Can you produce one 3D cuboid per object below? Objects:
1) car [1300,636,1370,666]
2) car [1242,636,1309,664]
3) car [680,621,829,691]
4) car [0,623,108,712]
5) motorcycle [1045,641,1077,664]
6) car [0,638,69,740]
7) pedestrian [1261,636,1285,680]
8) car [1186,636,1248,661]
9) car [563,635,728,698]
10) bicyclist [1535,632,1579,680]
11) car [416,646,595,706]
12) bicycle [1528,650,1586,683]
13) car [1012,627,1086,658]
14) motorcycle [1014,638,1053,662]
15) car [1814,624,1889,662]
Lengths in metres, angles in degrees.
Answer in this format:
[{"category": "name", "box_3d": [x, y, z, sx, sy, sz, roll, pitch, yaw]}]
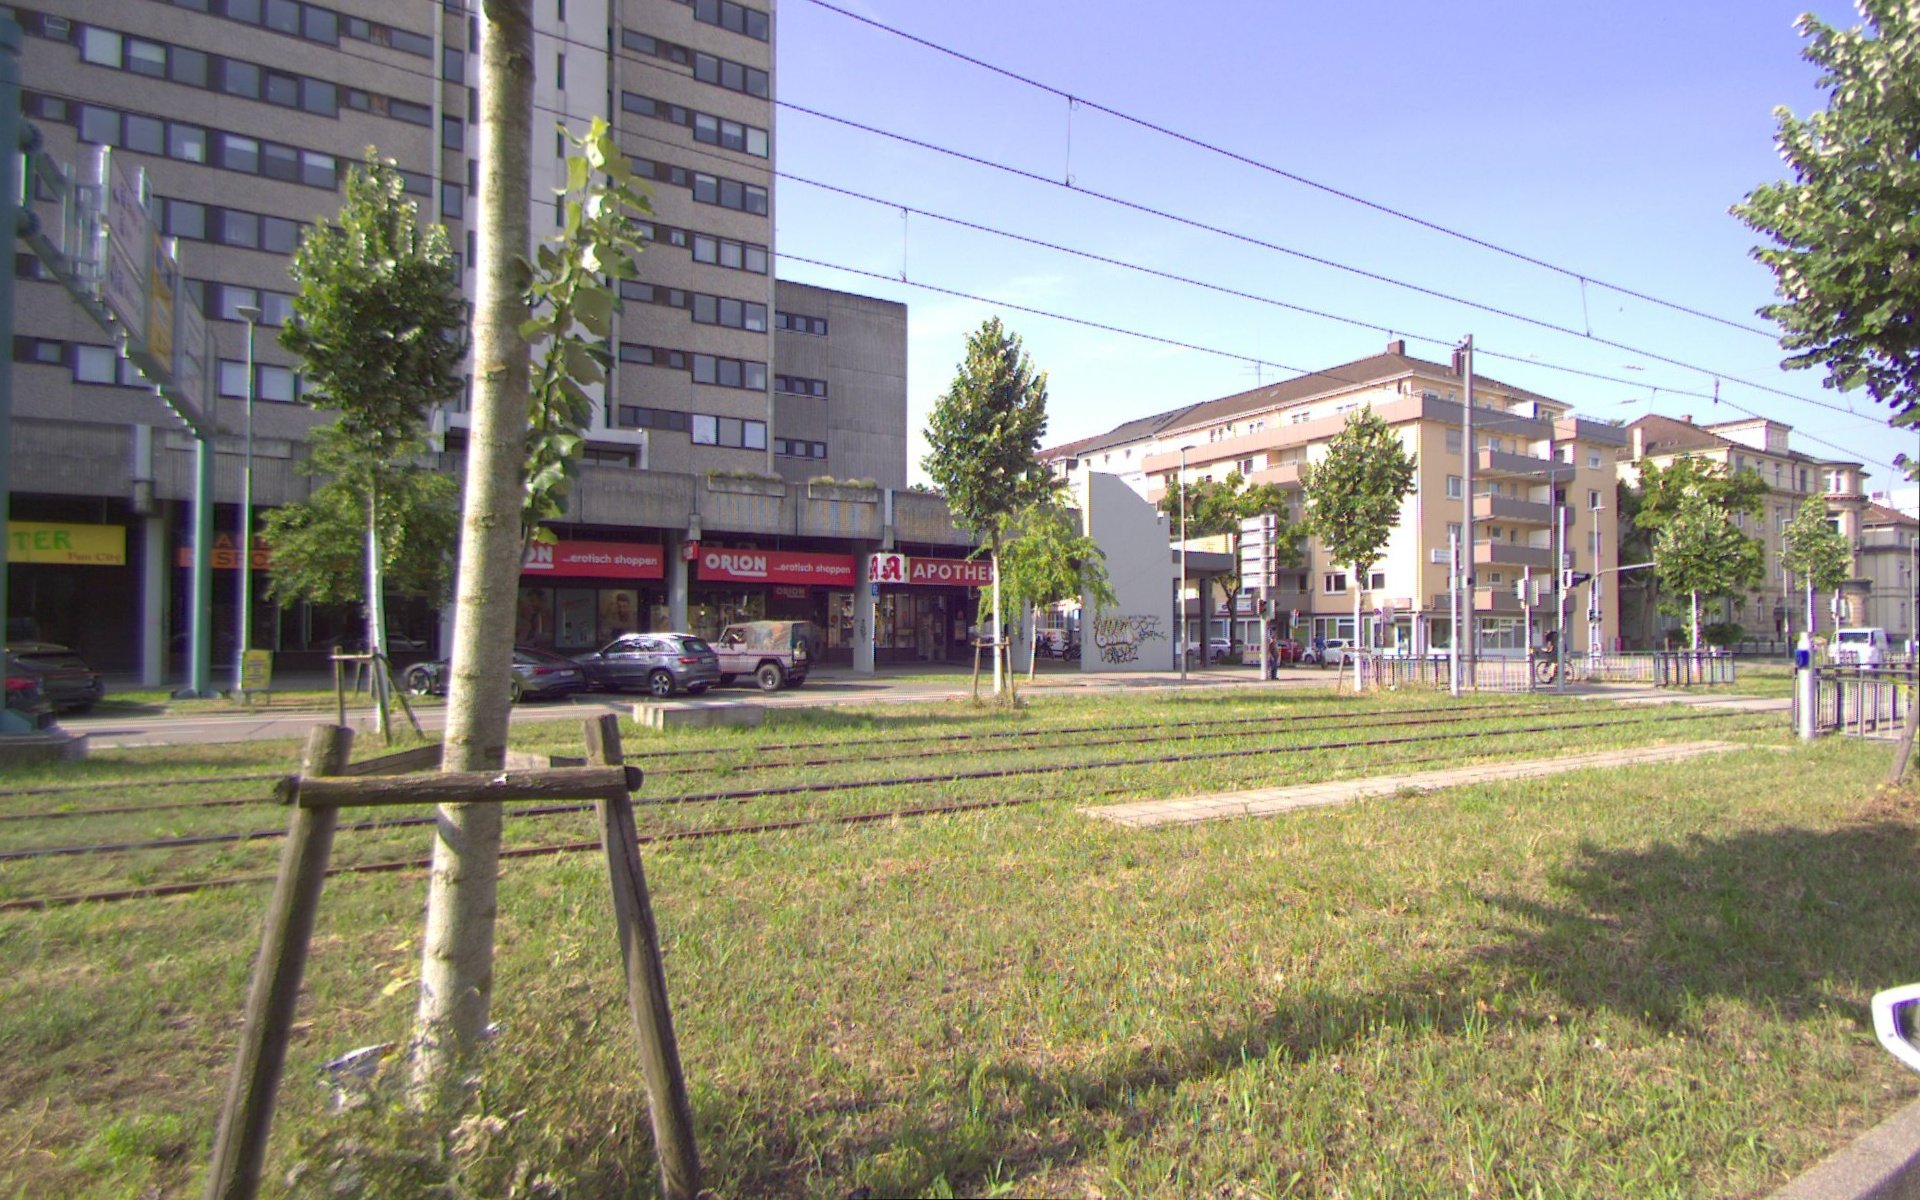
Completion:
[{"category": "car", "box_3d": [22.159, 2.986, 59.440, 1.691, 1.604, 3.601, -2, -1, -34]}, {"category": "car", "box_3d": [19.855, 3.103, 63.346, 1.756, 1.711, 3.765, 1, -2, -33]}, {"category": "car", "box_3d": [-6.170, 1.636, 30.245, 4.031, 1.994, 1.879, -1, -2, 20]}, {"category": "car", "box_3d": [-20.084, 1.314, 20.575, 3.919, 1.604, 2.103, 1, 1, 13]}, {"category": "motorcycle", "box_3d": [5.298, 2.735, 52.713, 1.658, 1.180, 0.626, 1, -2, -30]}, {"category": "car", "box_3d": [-16.253, 1.326, 14.833, 4.376, 1.510, 1.981, 2, -2, -35]}, {"category": "pedestrian", "box_3d": [12.365, 2.282, 39.647, 0.637, 1.712, 0.656, 1, -2, -28]}, {"category": "car", "box_3d": [17.243, 3.242, 67.548, 1.797, 1.625, 3.916, 1, -2, -34]}, {"category": "car", "box_3d": [-8.682, 1.796, 27.756, 4.031, 1.627, 1.879, -1, -2, 20]}, {"category": "bicyclist", "box_3d": [17.900, 1.689, 30.130, 0.536, 1.413, 0.972, -1, -4, -10]}, {"category": "car", "box_3d": [-11.693, 1.914, 25.890, 4.030, 1.261, 1.879, 1, 0, 20]}, {"category": "bicycle", "box_3d": [17.902, 2.001, 30.156, 0.547, 0.947, 1.611, -1, -4, -10]}, {"category": "car", "box_3d": [5.999, 2.843, 67.541, 4.778, 1.994, 1.984, 2, -3, -31]}, {"category": "motorcycle", "box_3d": [4.148, 2.804, 56.542, 2.116, 1.269, 0.820, 1, -2, -30]}, {"category": "car", "box_3d": [55.435, 2.660, 62.437, 5.275, 2.268, 2.035, 1, -2, -32]}]
